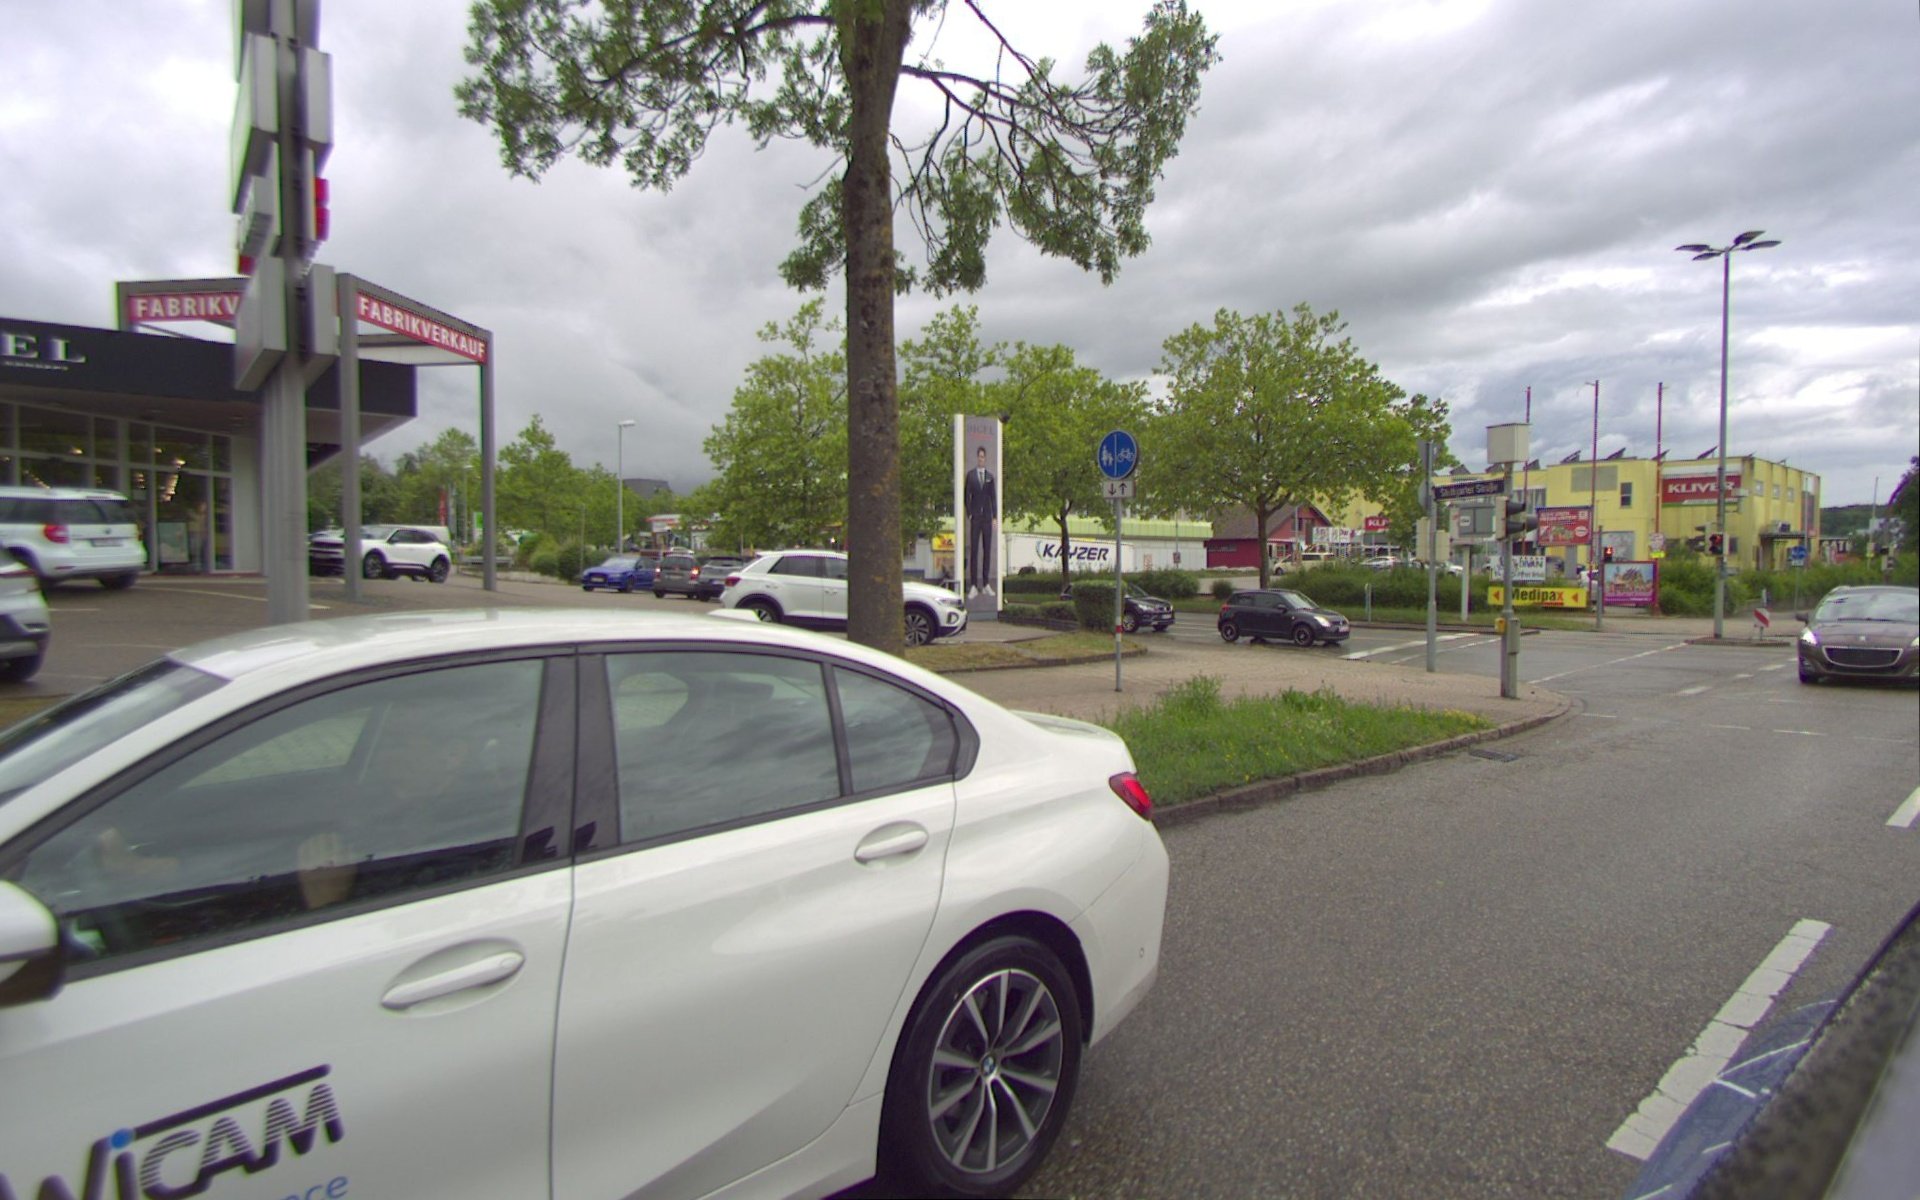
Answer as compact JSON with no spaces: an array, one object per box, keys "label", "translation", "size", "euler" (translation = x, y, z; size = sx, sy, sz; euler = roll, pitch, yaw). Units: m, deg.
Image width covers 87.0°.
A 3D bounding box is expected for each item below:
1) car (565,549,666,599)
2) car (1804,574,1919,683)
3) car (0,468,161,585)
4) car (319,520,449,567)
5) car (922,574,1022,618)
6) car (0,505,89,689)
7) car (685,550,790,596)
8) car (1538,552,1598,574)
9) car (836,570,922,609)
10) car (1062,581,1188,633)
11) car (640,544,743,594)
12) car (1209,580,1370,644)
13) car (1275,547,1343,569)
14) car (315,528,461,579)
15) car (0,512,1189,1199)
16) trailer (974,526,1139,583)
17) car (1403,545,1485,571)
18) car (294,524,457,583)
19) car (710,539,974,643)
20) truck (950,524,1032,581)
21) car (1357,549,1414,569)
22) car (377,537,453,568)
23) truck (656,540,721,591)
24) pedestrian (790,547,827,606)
[{"label":"car","translation":[-13.673,-1.037,40.507],"size":[1.965,1.814,4.922],"euler":[-2,1,6]},{"label":"car","translation":[16.034,0.390,17.292],"size":[4.392,1.644,1.730],"euler":[-1,2,-40]},{"label":"car","translation":[-15.705,-1.187,16.605],"size":[4.083,1.793,1.735],"euler":[1,2,8]},{"label":"car","translation":[-19.707,-1.904,34.836],"size":[1.710,1.499,4.144],"euler":[1,2,9]},{"label":"car","translation":[0.416,-0.210,39.283],"size":[1.785,1.507,3.989],"euler":[-2,4,-39]},{"label":"car","translation":[-10.732,-0.119,9.411],"size":[3.964,1.683,1.977],"euler":[3,2,11]},{"label":"car","translation":[-7.362,-0.905,33.922],"size":[1.951,1.396,4.143],"euler":[-2,1,10]},{"label":"car","translation":[52.038,-3.204,86.669],"size":[1.965,1.801,3.994],"euler":[-1,2,-41]},{"label":"car","translation":[-3.548,-0.489,43.714],"size":[1.785,1.465,3.989],"euler":[-2,4,-39]},{"label":"car","translation":[5.406,0.194,33.625],"size":[1.705,1.567,4.154],"euler":[-2,1,-34]},{"label":"car","translation":[-9.514,-1.103,36.225],"size":[1.968,1.599,4.216],"euler":[-2,1,10]},{"label":"car","translation":[9.246,0.269,28.661],"size":[1.785,1.507,3.989],"euler":[-2,4,-39]},{"label":"car","translation":[29.562,-3.580,85.758],"size":[2.340,1.801,4.978],"euler":[-1,2,-41]},{"label":"car","translation":[-17.976,-1.461,32.038],"size":[1.712,1.499,4.138],"euler":[1,2,13]},{"label":"car","translation":[-1.618,0.668,2.112],"size":[4.541,1.563,1.803],"euler":[-1,1,-42]},{"label":"trailer","translation":[7.567,-3.294,76.671],"size":[14.547,3.763,3.158],"euler":[0,0,-40]},{"label":"car","translation":[35.793,-3.098,74.943],"size":[2.340,1.801,4.978],"euler":[-1,2,-41]},{"label":"car","translation":[-16.097,-1.275,28.148],"size":[1.710,1.499,4.144],"euler":[1,2,9]},{"label":"car","translation":[-1.881,-0.188,17.133],"size":[4.208,1.596,1.932],"euler":[1,2,2]},{"label":"truck","translation":[2.251,-3.309,72.231],"size":[5.044,3.763,3.158],"euler":[0,0,-40]},{"label":"car","translation":[38.844,-3.765,92.484],"size":[1.965,1.760,4.379],"euler":[-1,2,-41]},{"label":"car","translation":[-33.936,-2.968,63.039],"size":[3.928,1.816,1.999],"euler":[0,2,-39]},{"label":"truck","translation":[-14.041,-1.802,52.178],"size":[1.785,2.515,3.989],"euler":[-2,4,-39]},{"label":"pedestrian","translation":[-4.304,-0.671,28.763],"size":[0.791,1.634,0.718],"euler":[2,2,25]}]
